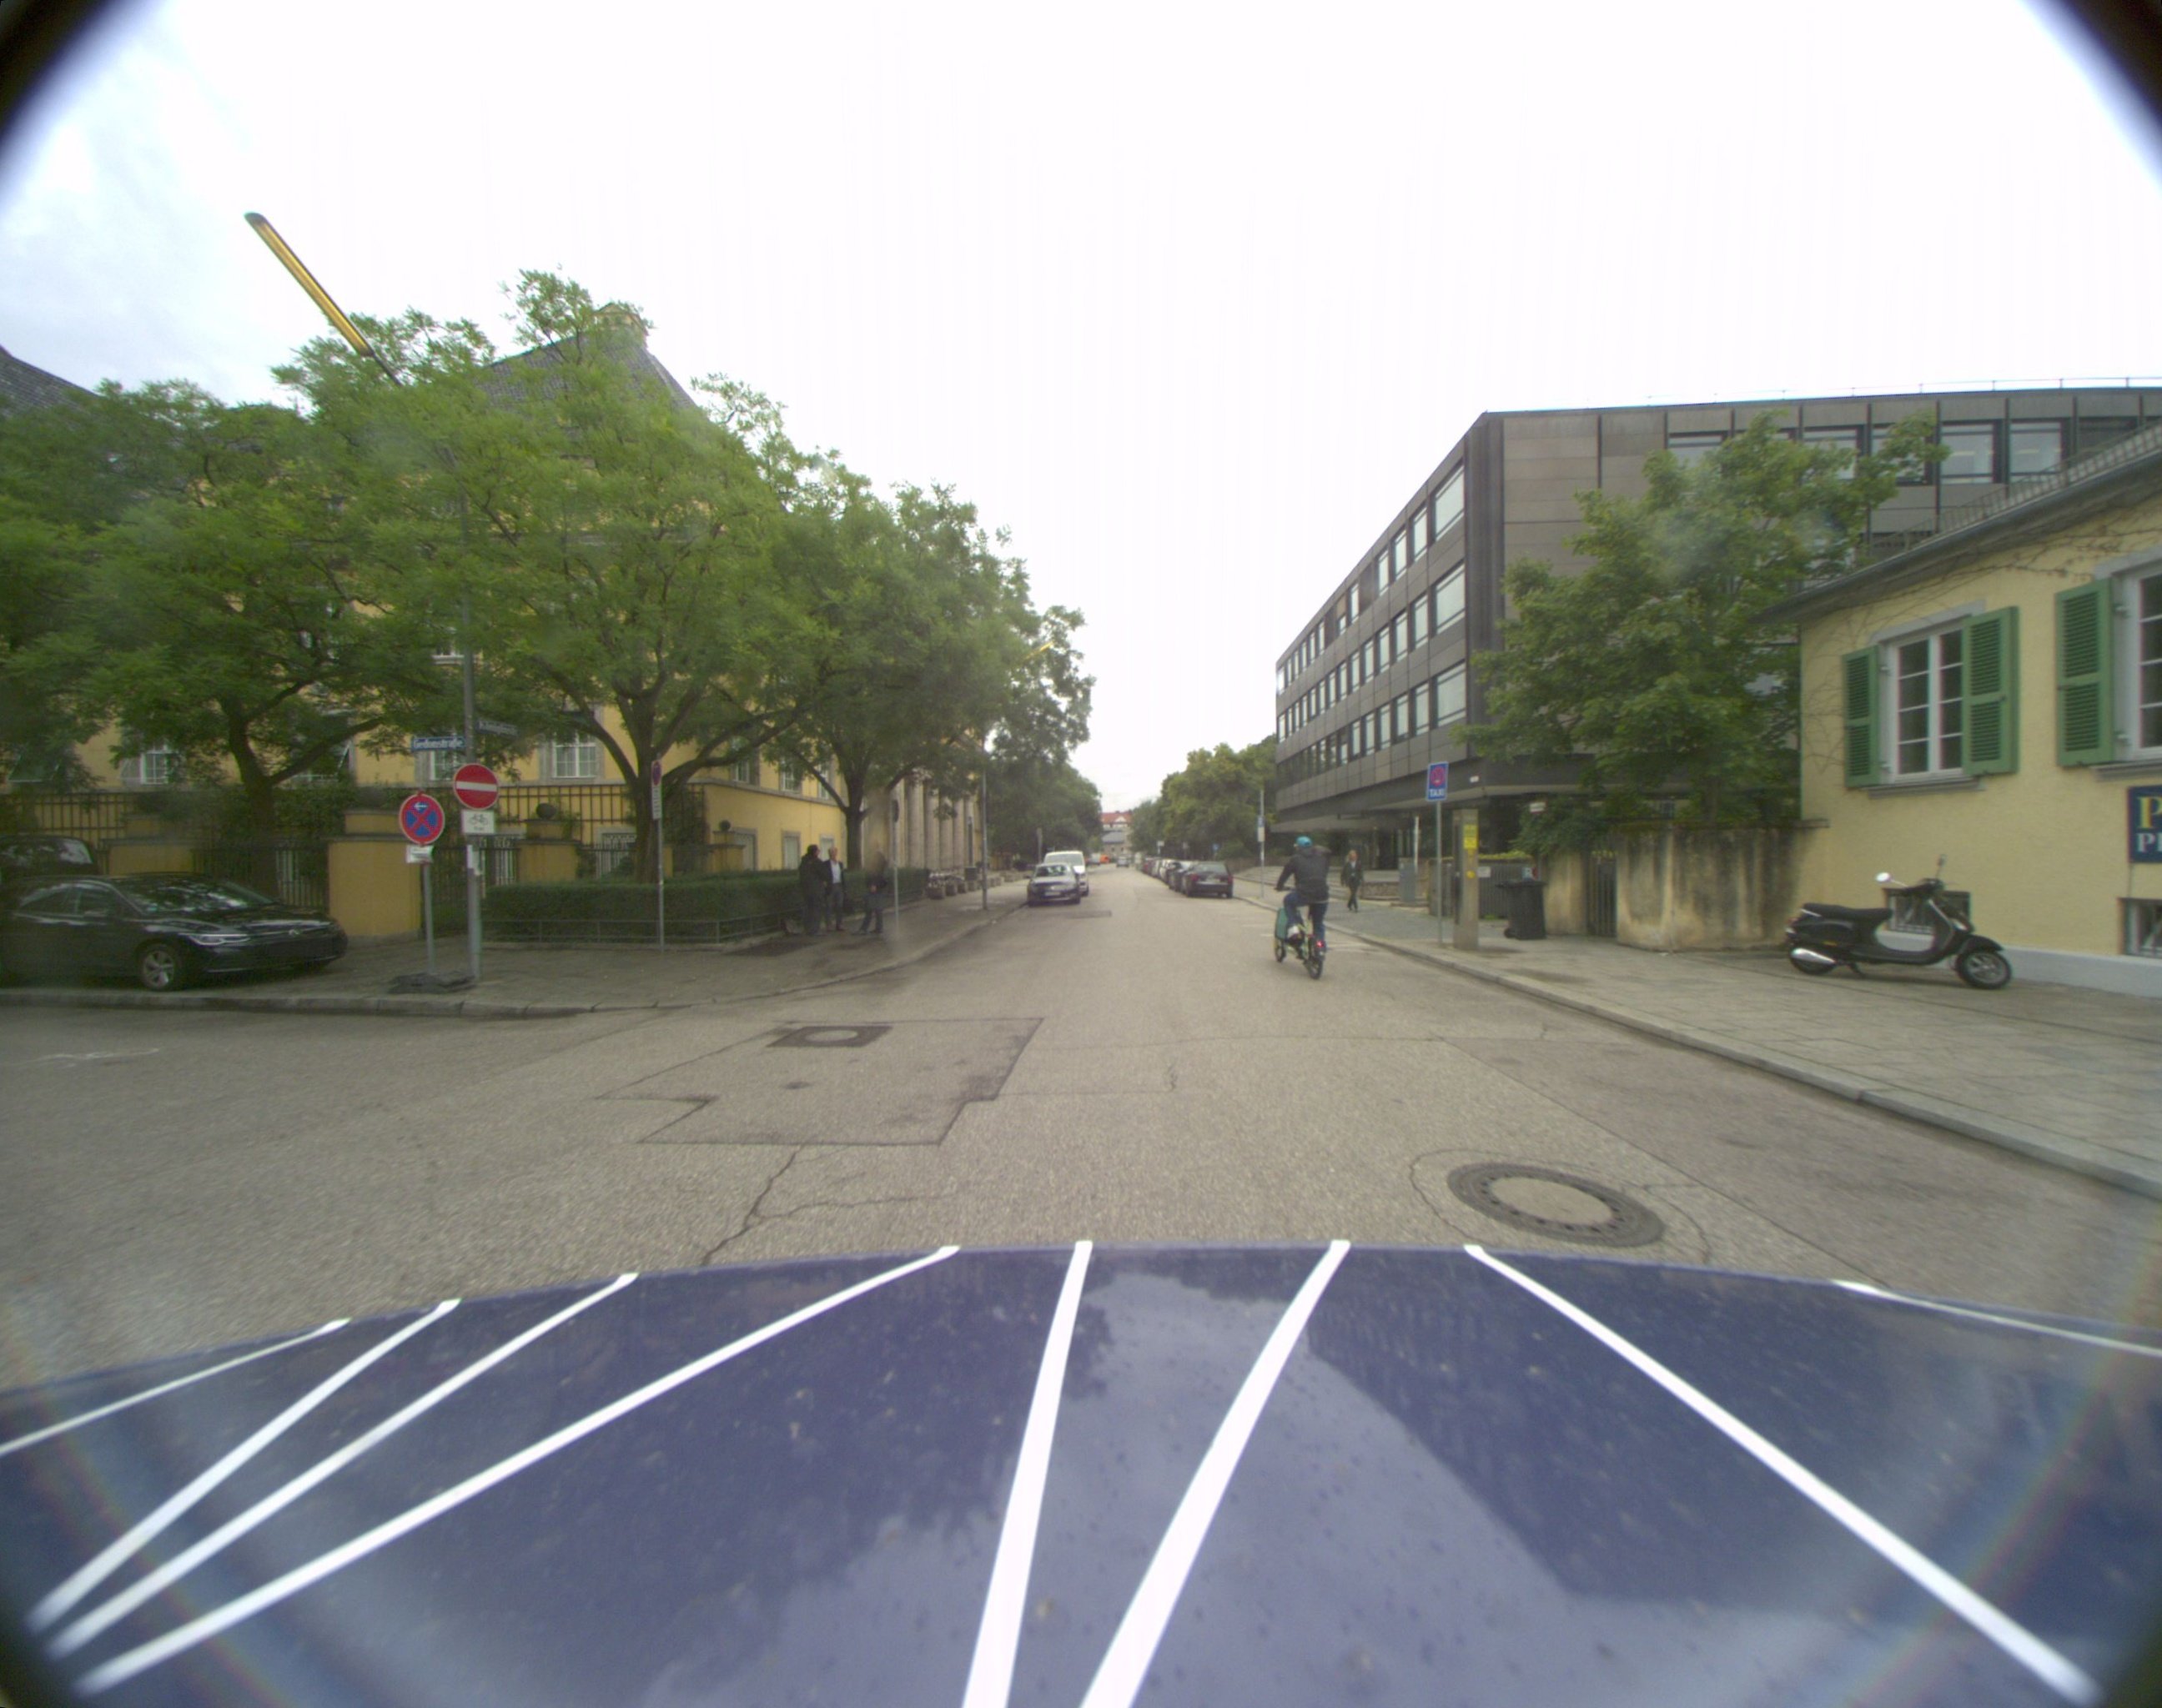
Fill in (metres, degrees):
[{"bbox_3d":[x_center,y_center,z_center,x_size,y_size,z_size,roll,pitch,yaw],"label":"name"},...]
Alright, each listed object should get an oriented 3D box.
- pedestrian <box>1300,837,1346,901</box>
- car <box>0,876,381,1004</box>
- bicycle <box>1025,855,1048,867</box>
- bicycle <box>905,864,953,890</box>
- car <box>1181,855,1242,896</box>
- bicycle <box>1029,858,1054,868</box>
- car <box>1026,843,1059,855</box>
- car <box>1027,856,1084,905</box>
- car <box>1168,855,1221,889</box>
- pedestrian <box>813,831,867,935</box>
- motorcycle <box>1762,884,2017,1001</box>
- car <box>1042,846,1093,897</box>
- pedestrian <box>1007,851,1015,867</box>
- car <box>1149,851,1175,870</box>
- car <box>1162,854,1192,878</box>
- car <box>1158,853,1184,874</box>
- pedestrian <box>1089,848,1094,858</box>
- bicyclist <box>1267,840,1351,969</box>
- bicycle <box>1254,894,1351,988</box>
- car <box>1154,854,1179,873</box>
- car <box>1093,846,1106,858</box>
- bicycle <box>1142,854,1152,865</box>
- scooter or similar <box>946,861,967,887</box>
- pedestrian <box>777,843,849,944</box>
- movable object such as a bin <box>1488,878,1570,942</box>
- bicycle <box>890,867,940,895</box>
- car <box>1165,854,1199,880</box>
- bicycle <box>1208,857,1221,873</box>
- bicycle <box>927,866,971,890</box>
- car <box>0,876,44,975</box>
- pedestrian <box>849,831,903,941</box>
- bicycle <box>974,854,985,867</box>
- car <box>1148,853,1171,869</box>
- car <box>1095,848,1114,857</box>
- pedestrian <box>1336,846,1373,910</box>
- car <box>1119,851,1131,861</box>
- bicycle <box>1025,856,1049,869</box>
[{"bbox_3d":[7.952,0.472,25.001,1.138,2.043,1.221,0,1,2],"label":"pedestrian"},{"bbox_3d":[-12.504,1.112,10.480,4.213,1.477,1.870,-1,1,8],"label":"car"},{"bbox_3d":[-4.514,0.737,77.699,2.264,1.053,0.601,4,1,-8],"label":"bicycle"},{"bbox_3d":[-6.548,1.003,32.746,1.935,1.107,0.471,0,1,5],"label":"bicycle"},{"bbox_3d":[5.278,0.812,31.276,1.998,1.482,4.884,0,0,4],"label":"car"},{"bbox_3d":[-3.872,0.880,74.700,2.370,1.000,0.677,1,0,-6],"label":"bicycle"},{"bbox_3d":[-5.775,-0.720,114.683,4.908,1.672,1.966,-1,1,1],"label":"car"},{"bbox_3d":[-0.829,0.891,27.419,1.775,1.481,4.973,-4,0,0],"label":"car"},{"bbox_3d":[5.375,0.800,36.541,1.927,1.431,4.918,1,1,1],"label":"car"},{"bbox_3d":[-5.073,0.599,16.073,0.744,2.122,1.056,0,1,2],"label":"pedestrian"},{"bbox_3d":[8.799,0.905,8.365,0.559,1.095,1.834,-3,1,-34],"label":"motorcycle"},{"bbox_3d":[-0.499,0.707,33.391,1.849,1.922,5.273,-4,0,2],"label":"car"},{"bbox_3d":[-7.754,0.572,83.953,0.790,1.736,1.056,0,1,2],"label":"pedestrian"},{"bbox_3d":[7.073,0.540,66.438,1.998,1.574,4.522,0,0,2],"label":"car"},{"bbox_3d":[6.257,0.746,49.851,1.685,1.432,4.280,2,1,3],"label":"car"},{"bbox_3d":[6.535,0.695,55.414,1.547,1.462,3.553,1,0,2],"label":"car"},{"bbox_3d":[2.036,-0.165,146.092,0.777,1.855,0.997,-4,1,-4],"label":"pedestrian"},{"bbox_3d":[2.907,0.619,9.780,0.745,1.567,0.977,-1,1,-2],"label":"bicyclist"},{"bbox_3d":[2.879,1.098,10.114,0.623,0.998,2.140,1,0,-1],"label":"bicycle"},{"bbox_3d":[6.764,0.714,60.507,1.762,1.392,4.218,2,0,4],"label":"car"},{"bbox_3d":[3.764,-0.504,159.012,2.236,2.289,4.729,-4,1,-3],"label":"car"},{"bbox_3d":[7.837,0.664,90.229,0.574,1.275,1.421,-2,0,35],"label":"bicycle"},{"bbox_3d":[-5.944,0.943,36.216,0.539,1.215,1.009,-1,1,-42],"label":"scooter or similar"},{"bbox_3d":[-5.219,0.733,14.821,0.742,1.896,1.058,0,1,38],"label":"pedestrian"},{"bbox_3d":[7.936,0.974,13.489,0.937,1.057,0.840,-1,0,0],"label":"movable object such as a bin"},{"bbox_3d":[-6.699,1.090,30.694,1.935,1.107,0.471,0,1,5],"label":"bicycle"},{"bbox_3d":[5.906,0.733,44.824,1.743,1.452,4.238,1,0,4],"label":"car"},{"bbox_3d":[9.990,0.795,56.908,0.644,1.157,1.527,-3,0,1],"label":"bicycle"},{"bbox_3d":[-6.042,1.097,34.929,1.936,1.107,0.471,0,1,0],"label":"bicycle"},{"bbox_3d":[-18.351,1.129,11.223,4.000,1.477,1.870,-1,1,8],"label":"car"},{"bbox_3d":[-4.088,0.620,15.245,0.744,2.122,1.056,0,1,2],"label":"pedestrian"},{"bbox_3d":[-10.230,0.634,76.669,0.601,1.299,2.264,0,0,3],"label":"bicycle"},{"bbox_3d":[7.455,0.611,72.858,1.998,1.452,4.648,0,0,4],"label":"car"},{"bbox_3d":[6.846,-0.445,221.815,2.577,2.521,4.974,-5,1,-44],"label":"car"},{"bbox_3d":[7.737,0.670,21.523,0.754,1.739,0.953,-3,0,9],"label":"pedestrian"},{"bbox_3d":[7.480,0.336,129.101,2.029,1.679,4.678,0,0,4],"label":"car"},{"bbox_3d":[-4.412,0.834,75.930,2.264,1.088,0.601,4,1,-8],"label":"bicycle"}]
